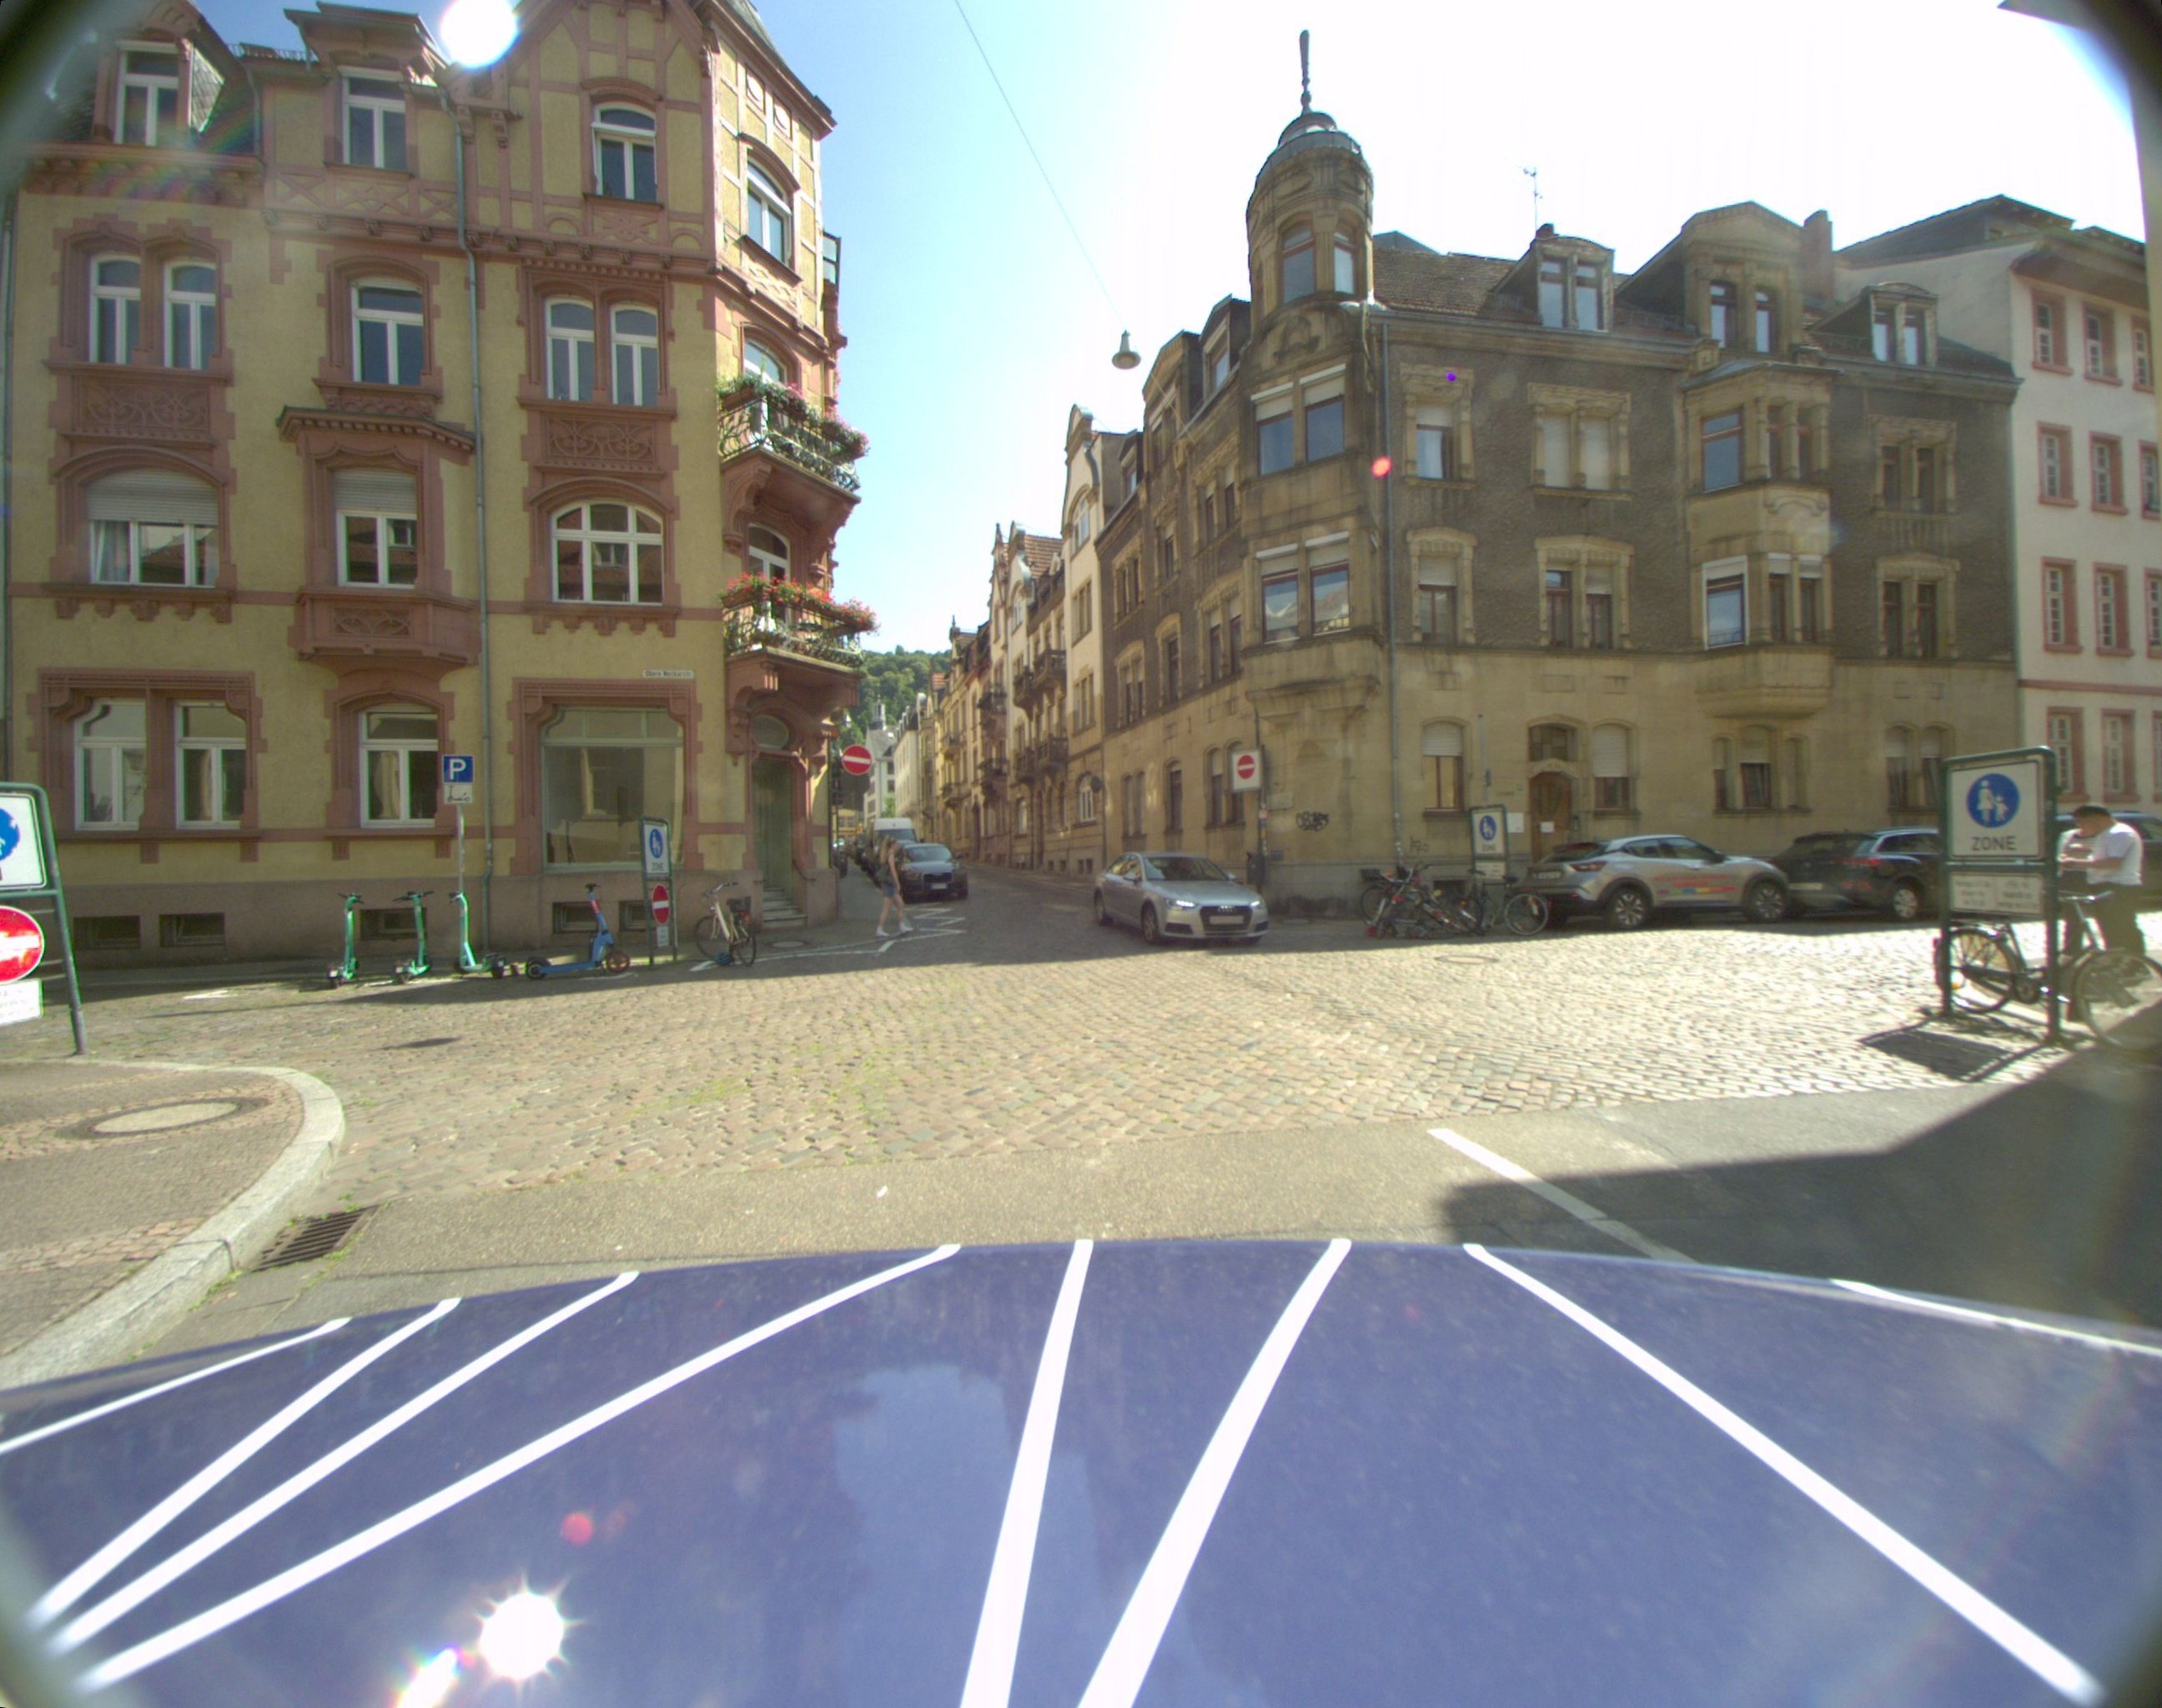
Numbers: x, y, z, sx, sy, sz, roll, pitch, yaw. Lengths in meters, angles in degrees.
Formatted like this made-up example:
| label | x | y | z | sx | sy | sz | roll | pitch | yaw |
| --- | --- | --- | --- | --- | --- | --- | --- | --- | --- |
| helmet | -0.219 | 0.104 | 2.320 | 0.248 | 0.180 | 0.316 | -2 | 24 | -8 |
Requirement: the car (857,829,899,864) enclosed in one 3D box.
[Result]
| label | x | y | z | sx | sy | sz | roll | pitch | yaw |
| --- | --- | --- | --- | --- | --- | --- | --- | --- | --- |
| car | -11.995 | -0.412 | 44.813 | 2.002 | 1.905 | 3.993 | -1 | 0 | -20 |

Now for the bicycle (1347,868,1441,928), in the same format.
| label | x | y | z | sx | sy | sz | roll | pitch | yaw |
| --- | --- | --- | --- | --- | --- | --- | --- | --- | --- |
| bicycle | 6.085 | 0.847 | 14.781 | 1.642 | 1.080 | 0.495 | -1 | 5 | -9 |

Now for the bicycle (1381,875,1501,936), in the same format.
| label | x | y | z | sx | sy | sz | roll | pitch | yaw |
| --- | --- | --- | --- | --- | --- | --- | --- | --- | --- |
| bicycle | 6.066 | 0.846 | 12.907 | 0.285 | 1.081 | 1.639 | -47 | 15 | -14 |

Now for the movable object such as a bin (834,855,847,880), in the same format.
| label | x | y | z | sx | sy | sz | roll | pitch | yaw |
| --- | --- | --- | --- | --- | --- | --- | --- | --- | --- |
| movable object such as a bin | -9.487 | 0.540 | 29.936 | 0.440 | 0.952 | 0.349 | -2 | 0 | -18 |

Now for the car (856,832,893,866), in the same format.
| label | x | y | z | sx | sy | sz | roll | pitch | yaw |
| --- | --- | --- | --- | --- | --- | --- | --- | --- | --- |
| car | -13.735 | -0.328 | 50.360 | 2.002 | 2.133 | 3.993 | -1 | 0 | -20 |

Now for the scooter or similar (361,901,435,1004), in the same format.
| label | x | y | z | sx | sy | sz | roll | pitch | yaw |
| --- | --- | --- | --- | --- | --- | --- | --- | --- | --- |
| scooter or similar | -8.973 | 1.249 | 10.016 | 0.413 | 1.202 | 1.232 | -2 | 0 | -28 |

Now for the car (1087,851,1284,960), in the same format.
| label | x | y | z | sx | sy | sz | roll | pitch | yaw |
| --- | --- | --- | --- | --- | --- | --- | --- | --- | --- |
| car | 1.535 | 0.737 | 12.995 | 1.878 | 1.483 | 4.378 | -2 | 0 | -13 |

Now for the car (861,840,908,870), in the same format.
| label | x | y | z | sx | sy | sz | roll | pitch | yaw |
| --- | --- | --- | --- | --- | --- | --- | --- | --- | --- |
| car | -10.470 | 0.063 | 40.274 | 2.002 | 1.517 | 3.993 | -1 | 0 | -20 |

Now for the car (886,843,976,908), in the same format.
| label | x | y | z | sx | sy | sz | roll | pitch | yaw |
| --- | --- | --- | --- | --- | --- | --- | --- | --- | --- |
| car | -4.434 | 0.520 | 21.949 | 1.864 | 1.574 | 4.252 | -3 | 2 | -19 |

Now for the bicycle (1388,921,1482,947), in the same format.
| label | x | y | z | sx | sy | sz | roll | pitch | yaw |
| --- | --- | --- | --- | --- | --- | --- | --- | --- | --- |
| bicycle | 5.728 | 1.290 | 12.378 | 1.077 | 0.286 | 1.124 | -1 | 0 | 5 |

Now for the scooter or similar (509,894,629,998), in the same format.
| label | x | y | z | sx | sy | sz | roll | pitch | yaw |
| --- | --- | --- | --- | --- | --- | --- | --- | --- | --- |
| scooter or similar | -6.574 | 1.156 | 9.807 | 1.192 | 1.228 | 0.441 | -1 | 0 | -23 |

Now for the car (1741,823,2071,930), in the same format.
| label | x | y | z | sx | sy | sz | roll | pitch | yaw |
| --- | --- | --- | --- | --- | --- | --- | --- | --- | --- |
| car | 14.112 | 0.382 | 13.124 | 4.000 | 1.534 | 1.852 | -2 | -2 | -8 |

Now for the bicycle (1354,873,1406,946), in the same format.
| label | x | y | z | sx | sy | sz | roll | pitch | yaw |
| --- | --- | --- | --- | --- | --- | --- | --- | --- | --- |
| bicycle | 4.954 | 0.891 | 12.666 | 0.285 | 1.079 | 1.643 | -5 | 0 | 5 |

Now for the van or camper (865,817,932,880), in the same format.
| label | x | y | z | sx | sy | sz | roll | pitch | yaw |
| --- | --- | --- | --- | --- | --- | --- | --- | --- | --- |
| van or camper | -8.316 | -0.334 | 34.096 | 2.228 | 2.506 | 6.754 | -1 | 2 | -19 |

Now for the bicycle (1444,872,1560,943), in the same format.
| label | x | y | z | sx | sy | sz | roll | pitch | yaw |
| --- | --- | --- | --- | --- | --- | --- | --- | --- | --- |
| bicycle | 6.785 | 0.860 | 12.319 | 0.286 | 1.079 | 1.639 | 1 | -4 | -36 |

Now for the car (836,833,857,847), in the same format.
| label | x | y | z | sx | sy | sz | roll | pitch | yaw |
| --- | --- | --- | --- | --- | --- | --- | --- | --- | --- |
| car | -31.353 | -1.860 | 101.512 | 2.002 | 1.652 | 3.992 | -2 | 0 | -25 |

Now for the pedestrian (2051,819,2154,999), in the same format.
| label | x | y | z | sx | sy | sz | roll | pitch | yaw |
| --- | --- | --- | --- | --- | --- | --- | --- | --- | --- |
| pedestrian | 9.690 | 0.492 | 7.209 | 0.658 | 1.609 | 0.492 | -2 | 1 | -29 |

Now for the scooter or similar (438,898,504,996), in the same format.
| label | x | y | z | sx | sy | sz | roll | pitch | yaw |
| --- | --- | --- | --- | --- | --- | --- | --- | --- | --- |
| scooter or similar | -8.109 | 1.208 | 10.091 | 1.187 | 1.202 | 0.343 | -1 | 0 | 35 |

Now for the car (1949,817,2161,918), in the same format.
| label | x | y | z | sx | sy | sz | roll | pitch | yaw |
| --- | --- | --- | --- | --- | --- | --- | --- | --- | --- |
| car | 18.675 | 0.200 | 14.021 | 3.860 | 1.626 | 1.567 | -2 | 1 | -6 |

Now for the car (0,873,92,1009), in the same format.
| label | x | y | z | sx | sy | sz | roll | pitch | yaw |
| --- | --- | --- | --- | --- | --- | --- | --- | --- | --- |
| car | -15.210 | 1.137 | 8.922 | 4.001 | 1.633 | 1.998 | -2 | 1 | -11 |

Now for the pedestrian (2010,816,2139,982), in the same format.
| label | x | y | z | sx | sy | sz | roll | pitch | yaw |
| --- | --- | --- | --- | --- | --- | --- | --- | --- | --- |
| pedestrian | 10.199 | 0.432 | 7.804 | 0.757 | 1.608 | 0.689 | -1 | 0 | -29 |

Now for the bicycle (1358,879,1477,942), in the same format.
| label | x | y | z | sx | sy | sz | roll | pitch | yaw |
| --- | --- | --- | --- | --- | --- | --- | --- | --- | --- |
| bicycle | 5.595 | 0.926 | 12.753 | 0.285 | 1.081 | 1.639 | -47 | 15 | -14 |

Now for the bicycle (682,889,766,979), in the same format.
| label | x | y | z | sx | sy | sz | roll | pitch | yaw |
| --- | --- | --- | --- | --- | --- | --- | --- | --- | --- |
| bicycle | -5.158 | 1.101 | 10.921 | 0.506 | 1.139 | 1.788 | -1 | 1 | -45 |

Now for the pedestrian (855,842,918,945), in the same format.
| label | x | y | z | sx | sy | sz | roll | pitch | yaw |
| --- | --- | --- | --- | --- | --- | --- | --- | --- | --- |
| pedestrian | -3.471 | 0.692 | 13.650 | 0.981 | 1.749 | 0.622 | -2 | 4 | -10 |

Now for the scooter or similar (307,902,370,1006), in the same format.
| label | x | y | z | sx | sy | sz | roll | pitch | yaw |
| --- | --- | --- | --- | --- | --- | --- | --- | --- | --- |
| scooter or similar | -9.557 | 1.250 | 9.803 | 0.343 | 1.202 | 1.188 | -2 | 0 | -34 |

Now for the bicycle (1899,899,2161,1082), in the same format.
| label | x | y | z | sx | sy | sz | roll | pitch | yaw |
| --- | --- | --- | --- | --- | --- | --- | --- | --- | --- |
| bicycle | 7.334 | 0.941 | 5.784 | 0.391 | 1.073 | 1.911 | -1 | 0 | 8 |

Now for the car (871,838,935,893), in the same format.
| label | x | y | z | sx | sy | sz | roll | pitch | yaw |
| --- | --- | --- | --- | --- | --- | --- | --- | --- | --- |
| car | -6.366 | 0.323 | 26.959 | 1.763 | 1.696 | 3.992 | -4 | 3 | -18 |

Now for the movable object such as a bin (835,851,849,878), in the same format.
| label | x | y | z | sx | sy | sz | roll | pitch | yaw |
| --- | --- | --- | --- | --- | --- | --- | --- | --- | --- |
| movable object such as a bin | -9.760 | 0.427 | 30.989 | 0.518 | 1.083 | 0.421 | -2 | 0 | -18 |

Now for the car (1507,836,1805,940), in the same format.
| label | x | y | z | sx | sy | sz | roll | pitch | yaw |
| --- | --- | --- | --- | --- | --- | --- | --- | --- | --- |
| car | 9.709 | 0.525 | 12.982 | 3.929 | 1.535 | 1.851 | -1 | 0 | -10 |
